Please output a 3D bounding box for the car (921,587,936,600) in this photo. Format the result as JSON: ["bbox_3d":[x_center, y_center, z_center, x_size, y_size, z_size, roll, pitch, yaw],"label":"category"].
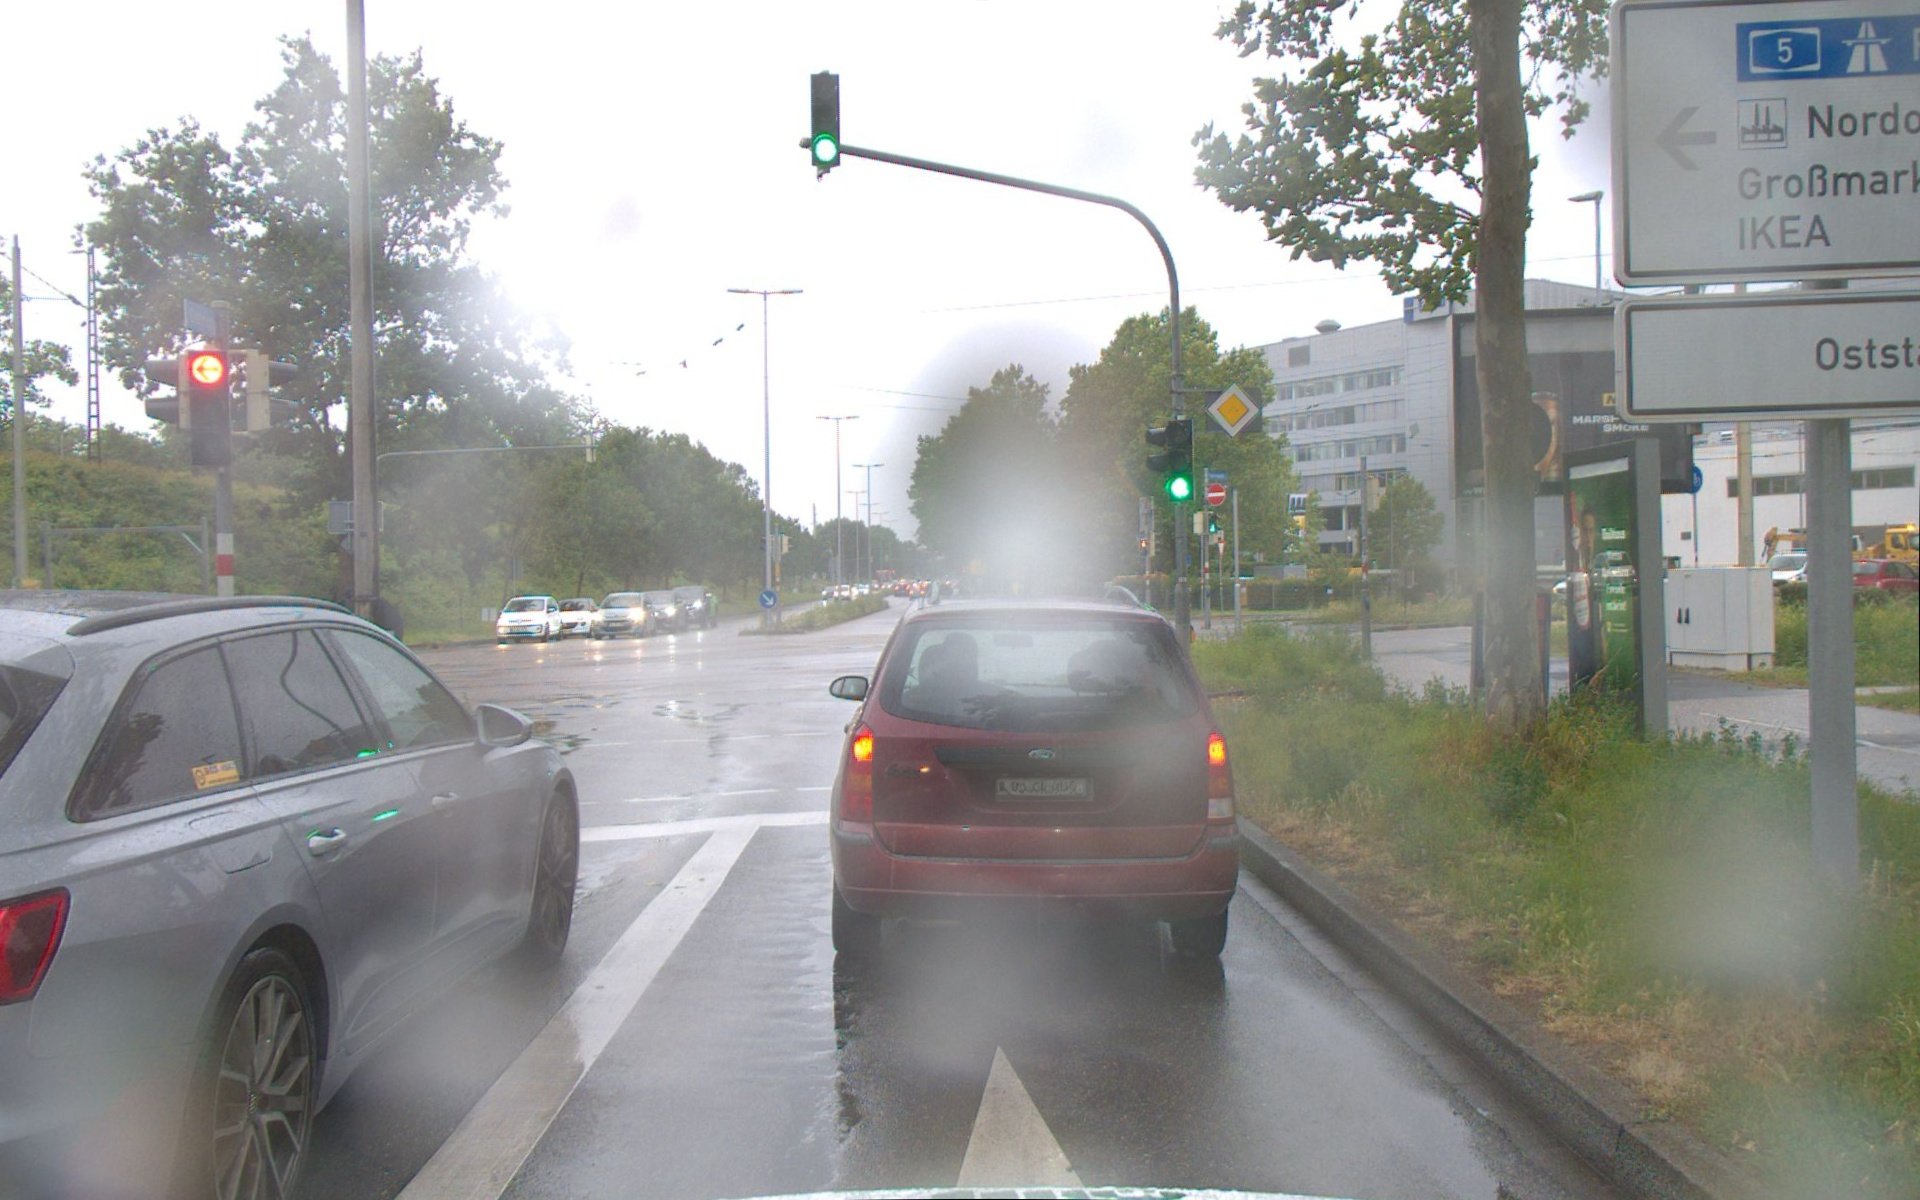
[{"bbox_3d":[-3.714,-0.752,194.042,1.663,1.554,3.846,-1,0,0],"label":"car"}]

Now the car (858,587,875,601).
[{"bbox_3d":[-12.084,-0.789,214.030,1.923,1.732,4.283,-2,1,-1],"label":"car"}]

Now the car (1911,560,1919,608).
[{"bbox_3d":[33.023,-0.556,53.677,4.774,1.517,1.904,-1,0,-35],"label":"car"}]

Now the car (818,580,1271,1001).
[{"bbox_3d":[0.252,0.671,7.807,1.609,1.490,3.731,1,0,-2],"label":"car"}]

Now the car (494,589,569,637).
[{"bbox_3d":[-14.165,0.394,54.835,1.605,1.478,3.785,-2,1,-3],"label":"car"}]

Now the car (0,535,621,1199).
[{"bbox_3d":[-2.303,0.666,4.857,1.733,1.601,4.819,1,0,-2],"label":"car"}]

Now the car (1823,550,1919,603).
[{"bbox_3d":[27.637,-0.687,49.416,3.768,1.517,1.660,0,0,-33],"label":"car"}]

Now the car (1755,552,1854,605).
[{"bbox_3d":[35.982,-0.928,70.416,4.641,2.162,1.973,-1,0,-38],"label":"car"}]

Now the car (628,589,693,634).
[{"bbox_3d":[-11.359,0.422,62.999,1.727,1.614,4.811,-2,0,-2],"label":"car"}]

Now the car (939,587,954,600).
[{"bbox_3d":[-1.607,-0.774,199.741,1.636,1.554,3.846,-1,0,1],"label":"car"}]

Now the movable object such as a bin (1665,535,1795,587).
[{"bbox_3d":[48.350,-2.423,103.979,3.292,3.048,6.634,-2,0,-36],"label":"movable object such as a bin"}]

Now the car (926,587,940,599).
[{"bbox_3d":[-3.772,-0.961,230.445,1.636,1.554,3.848,-1,0,4],"label":"car"}]

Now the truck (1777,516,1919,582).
[{"bbox_3d":[52.803,-2.949,97.367,3.292,3.568,7.789,-2,0,-36],"label":"truck"}]

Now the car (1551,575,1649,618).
[{"bbox_3d":[27.159,-0.162,70.159,4.188,1.756,1.723,0,0,-32],"label":"car"}]

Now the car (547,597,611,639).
[{"bbox_3d":[-14.066,0.628,61.223,1.558,1.428,3.822,-2,1,-2],"label":"car"}]

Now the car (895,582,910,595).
[{"bbox_3d":[-7.036,-1.445,202.358,1.663,1.554,3.846,-1,0,1],"label":"car"}]

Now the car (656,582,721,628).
[{"bbox_3d":[-11.637,0.184,71.176,2.024,1.851,5.539,-2,1,-2],"label":"car"}]

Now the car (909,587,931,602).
[{"bbox_3d":[-4.236,-0.558,175.422,2.103,1.554,4.193,-1,0,1],"label":"car"}]

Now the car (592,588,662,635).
[{"bbox_3d":[-11.230,0.363,55.984,1.605,1.499,3.964,-2,1,-1],"label":"car"}]

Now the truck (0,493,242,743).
[{"bbox_3d":[-10.374,0.190,16.977,2.422,2.406,6.872,-1,0,6],"label":"truck"}]

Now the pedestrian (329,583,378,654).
[{"bbox_3d":[-16.654,0.502,45.446,1.083,1.879,1.127,-1,0,-13],"label":"pedestrian"}]

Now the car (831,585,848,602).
[{"bbox_3d":[-12.529,-0.679,171.739,1.709,1.732,4.280,-3,1,-4],"label":"car"}]
